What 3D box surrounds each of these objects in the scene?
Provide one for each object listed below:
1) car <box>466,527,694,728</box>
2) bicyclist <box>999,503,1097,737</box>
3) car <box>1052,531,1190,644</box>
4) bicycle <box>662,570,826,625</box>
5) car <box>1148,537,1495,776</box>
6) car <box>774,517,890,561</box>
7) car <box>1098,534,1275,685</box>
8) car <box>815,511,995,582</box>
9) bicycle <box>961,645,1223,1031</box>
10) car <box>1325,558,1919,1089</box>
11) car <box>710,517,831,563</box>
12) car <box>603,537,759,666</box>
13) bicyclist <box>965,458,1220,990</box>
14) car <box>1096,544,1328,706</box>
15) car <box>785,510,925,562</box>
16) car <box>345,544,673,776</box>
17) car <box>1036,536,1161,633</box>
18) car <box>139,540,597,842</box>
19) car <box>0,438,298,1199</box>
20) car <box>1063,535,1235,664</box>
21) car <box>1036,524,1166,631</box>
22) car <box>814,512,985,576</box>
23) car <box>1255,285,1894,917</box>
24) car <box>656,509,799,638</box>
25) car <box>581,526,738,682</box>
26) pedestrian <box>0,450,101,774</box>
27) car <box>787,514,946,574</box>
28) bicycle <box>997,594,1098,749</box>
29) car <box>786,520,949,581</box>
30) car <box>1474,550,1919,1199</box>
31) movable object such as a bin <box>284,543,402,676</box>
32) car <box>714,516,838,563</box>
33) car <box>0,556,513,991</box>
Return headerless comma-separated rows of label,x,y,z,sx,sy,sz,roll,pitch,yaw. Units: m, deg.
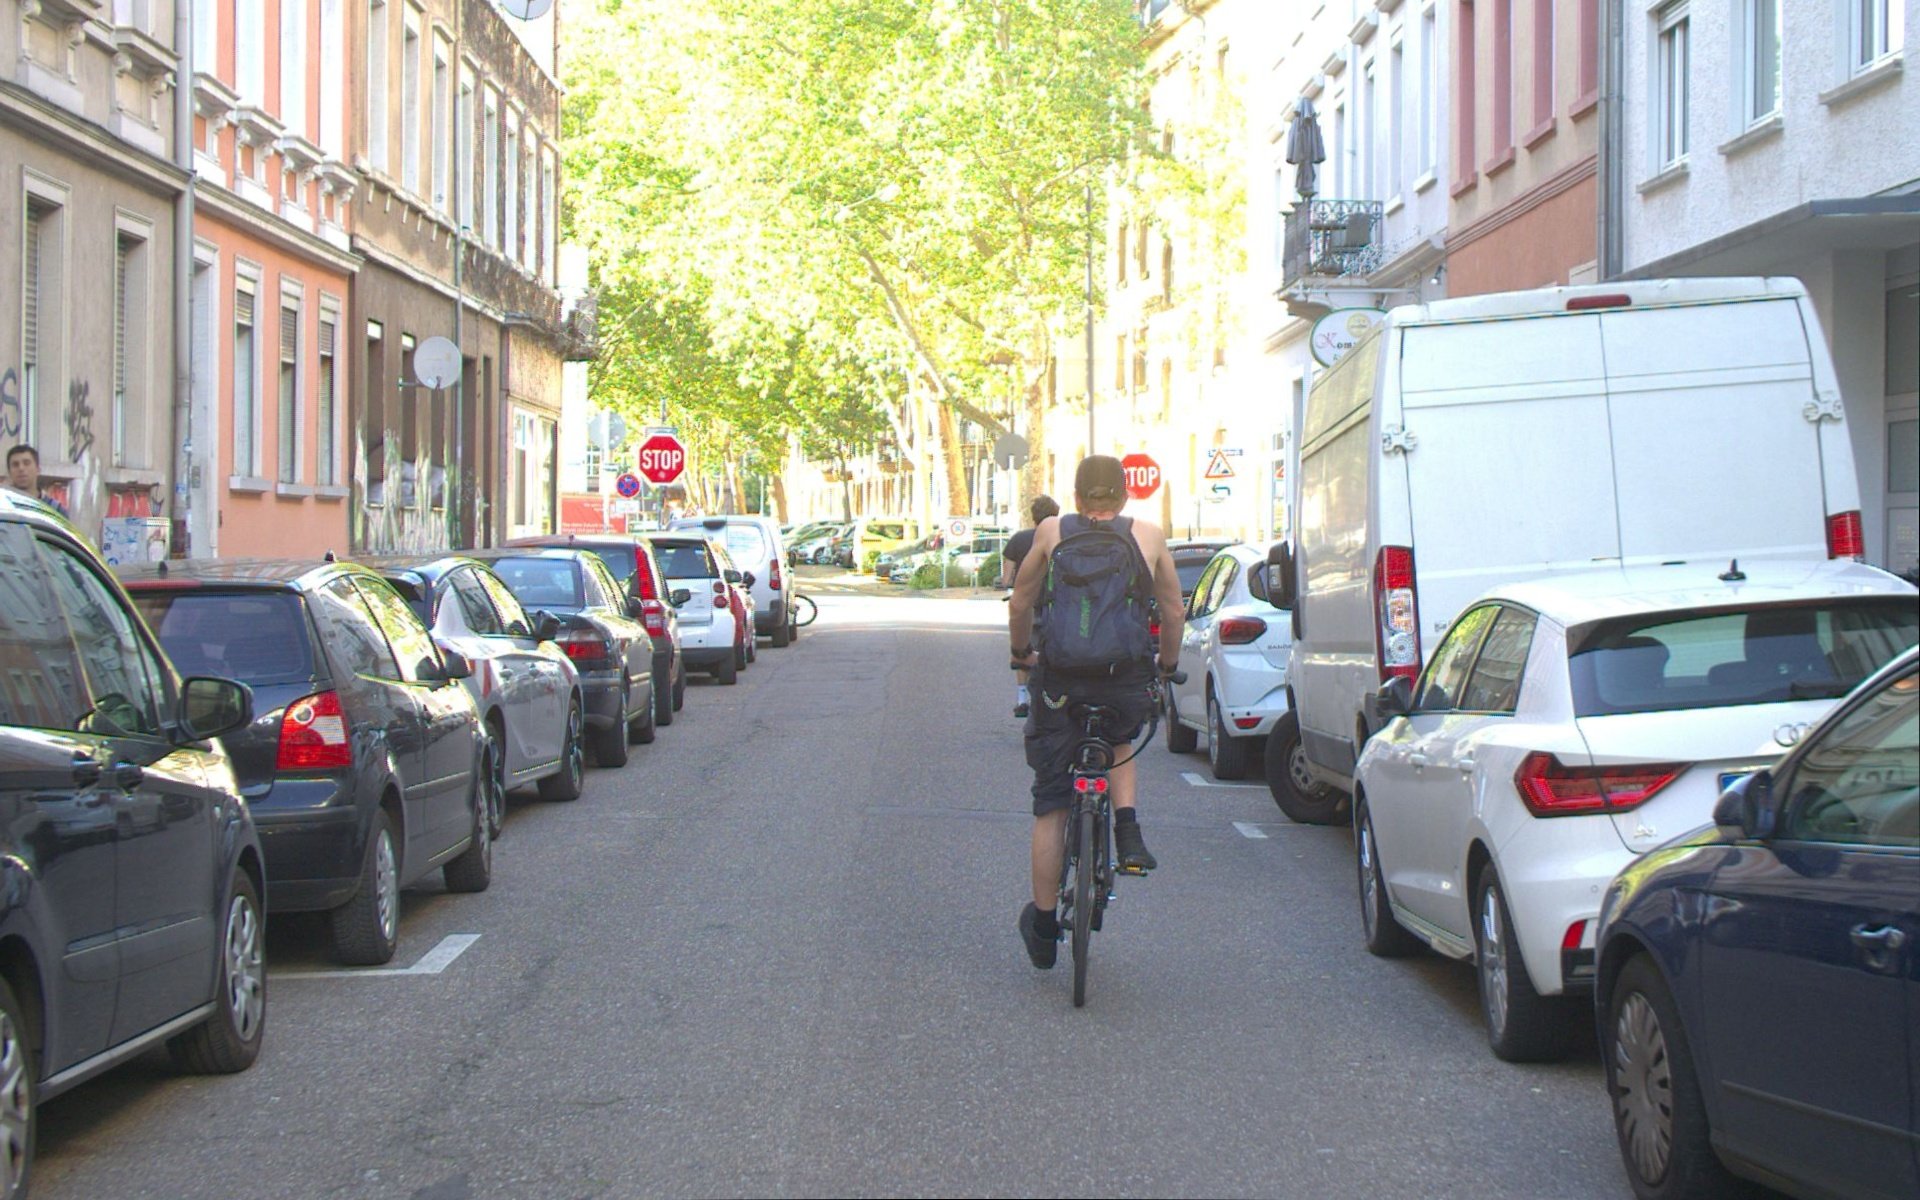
car,-3.090,0.178,28.460,1.604,1.525,3.379,-1,1,-2
bicyclist,0.629,0.131,24.804,0.669,1.653,0.877,0,1,0
car,2.252,-0.205,48.778,1.652,1.525,3.575,0,1,-2
bicycle,-3.597,-0.045,57.430,2.715,0.889,0.619,0,1,-3
car,2.365,0.312,23.419,1.731,1.465,4.022,0,1,-3
car,-5.035,-2.384,134.585,4.468,1.690,1.867,0,1,-5
car,2.336,0.056,36.214,1.592,1.487,3.876,0,1,0
car,-1.426,-1.368,87.505,4.468,1.753,1.867,0,1,-5
bicycle,0.408,0.748,11.616,0.740,1.097,2.042,2,1,-1
car,2.342,0.595,11.448,1.725,1.424,3.833,0,1,-2
car,-7.070,-2.229,128.116,4.468,1.690,1.867,0,1,-5
car,-3.168,-0.013,39.599,1.552,1.395,3.668,0,1,-1
bicyclist,0.423,0.384,11.518,0.740,1.673,1.117,2,1,-1
car,2.215,0.179,31.123,1.657,1.334,4.001,0,1,-2
car,-3.445,-2.099,112.280,4.468,1.690,1.867,0,1,-5
car,-2.982,0.341,23.502,1.706,1.409,4.302,0,1,0
car,2.156,-0.274,54.353,1.686,1.466,3.575,0,1,-2
car,-3.047,0.407,18.442,1.674,1.425,3.888,0,1,2
car,-2.938,0.510,8.487,1.801,1.692,4.000,-2,1,0
car,2.247,-0.043,41.672,1.710,1.465,4.001,0,1,-2
car,2.396,-0.419,59.260,1.893,1.763,4.001,0,1,-3
car,-1.636,-1.508,92.284,4.468,1.690,1.867,0,1,-5
car,2.735,-0.060,16.880,2.204,2.542,6.036,0,1,2
car,-3.207,-0.399,48.032,1.787,1.731,3.876,0,1,-1
car,-3.092,0.001,35.834,1.544,1.545,3.466,0,1,-4
pedestrian,-5.462,0.056,20.158,0.610,1.851,0.754,2,1,-1
car,-2.712,-1.609,99.021,4.468,1.690,1.867,0,1,-5
bicycle,0.617,0.493,24.859,0.664,1.034,1.959,0,1,0
car,-2.618,-1.398,96.572,4.468,1.690,1.867,0,1,-5
car,2.592,0.688,6.397,1.811,1.473,4.610,-3,2,-10
movable object such as a bin,-5.574,0.081,31.084,0.834,1.122,0.716,-4,1,2
car,-6.743,-2.200,125.689,4.468,1.690,1.867,0,1,-5
car,-2.797,0.567,13.468,1.592,1.435,3.654,0,1,0
